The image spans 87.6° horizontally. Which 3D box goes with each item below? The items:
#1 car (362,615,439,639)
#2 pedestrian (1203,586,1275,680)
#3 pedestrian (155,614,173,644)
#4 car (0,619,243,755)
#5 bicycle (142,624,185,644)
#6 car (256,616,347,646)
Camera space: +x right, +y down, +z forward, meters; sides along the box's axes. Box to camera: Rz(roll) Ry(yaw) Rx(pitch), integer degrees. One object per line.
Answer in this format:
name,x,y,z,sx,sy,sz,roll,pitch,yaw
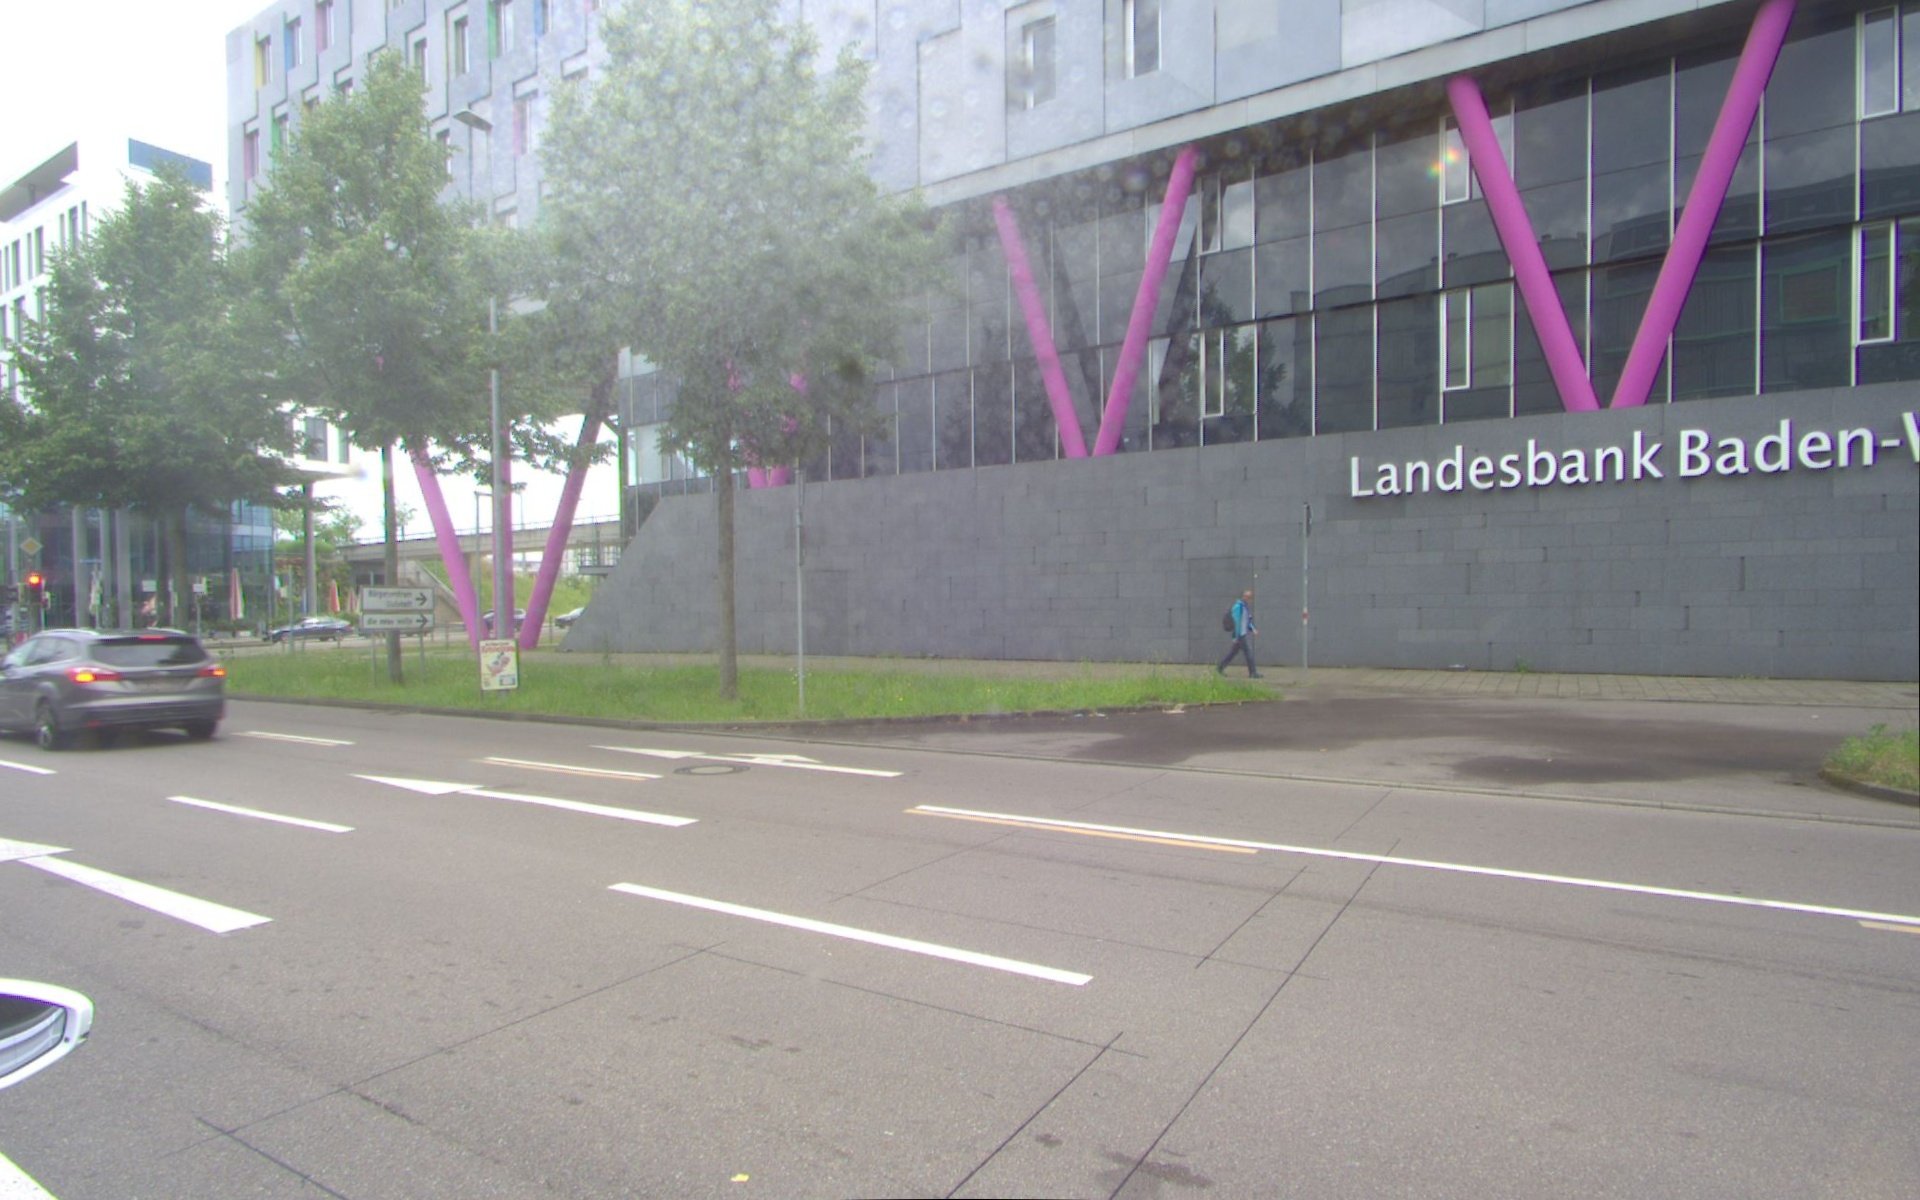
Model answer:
car,-36.234,1.744,64.927,1.734,1.474,4.070,0,0,34
pedestrian,5.534,0.637,19.856,1.121,1.794,1.049,0,1,33
pedestrian,-43.997,1.603,55.363,0.610,1.625,0.613,0,1,34
car,-11.695,1.055,13.591,4.206,1.519,1.745,0,0,32
bicycle,-44.009,1.870,55.351,0.609,1.100,1.787,0,0,34
car,-39.167,1.815,59.653,1.734,1.636,4.240,0,0,34
